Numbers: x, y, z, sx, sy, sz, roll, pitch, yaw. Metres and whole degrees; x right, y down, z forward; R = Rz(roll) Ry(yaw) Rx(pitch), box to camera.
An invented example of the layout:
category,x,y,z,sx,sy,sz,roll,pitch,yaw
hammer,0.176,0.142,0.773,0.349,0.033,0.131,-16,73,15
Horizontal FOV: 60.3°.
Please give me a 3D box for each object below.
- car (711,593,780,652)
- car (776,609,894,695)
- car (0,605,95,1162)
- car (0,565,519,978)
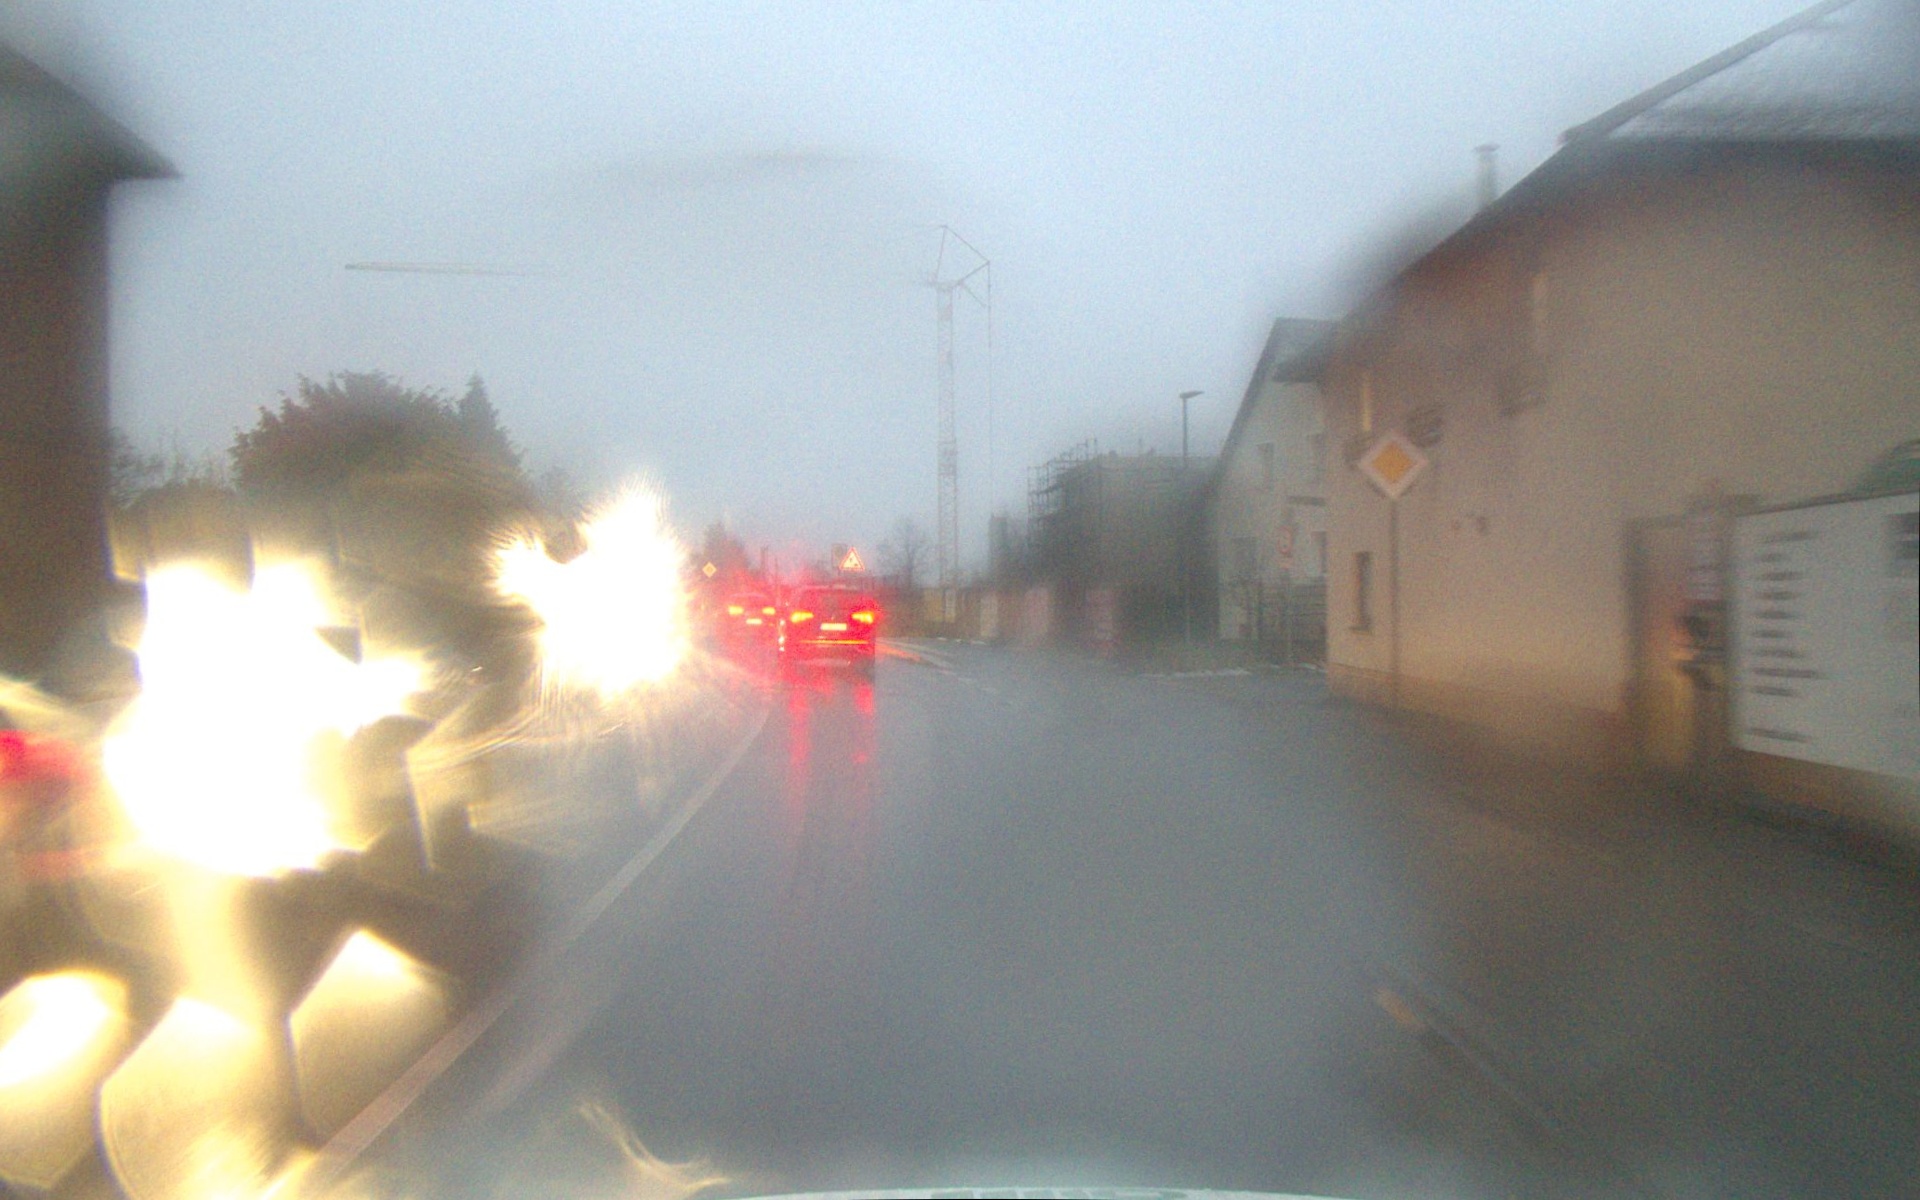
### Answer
category,x,y,z,sx,sy,sz,roll,pitch,yaw
car,-7.479,0.765,57.388,1.959,1.914,3.986,-2,0,-13
car,-2.655,1.033,34.144,2.009,1.600,4.692,-1,-1,-9
car,-3.282,0.741,2.457,1.788,1.397,4.285,-1,0,-1
car,-3.755,0.673,8.732,1.838,1.613,4.288,-2,1,-3
